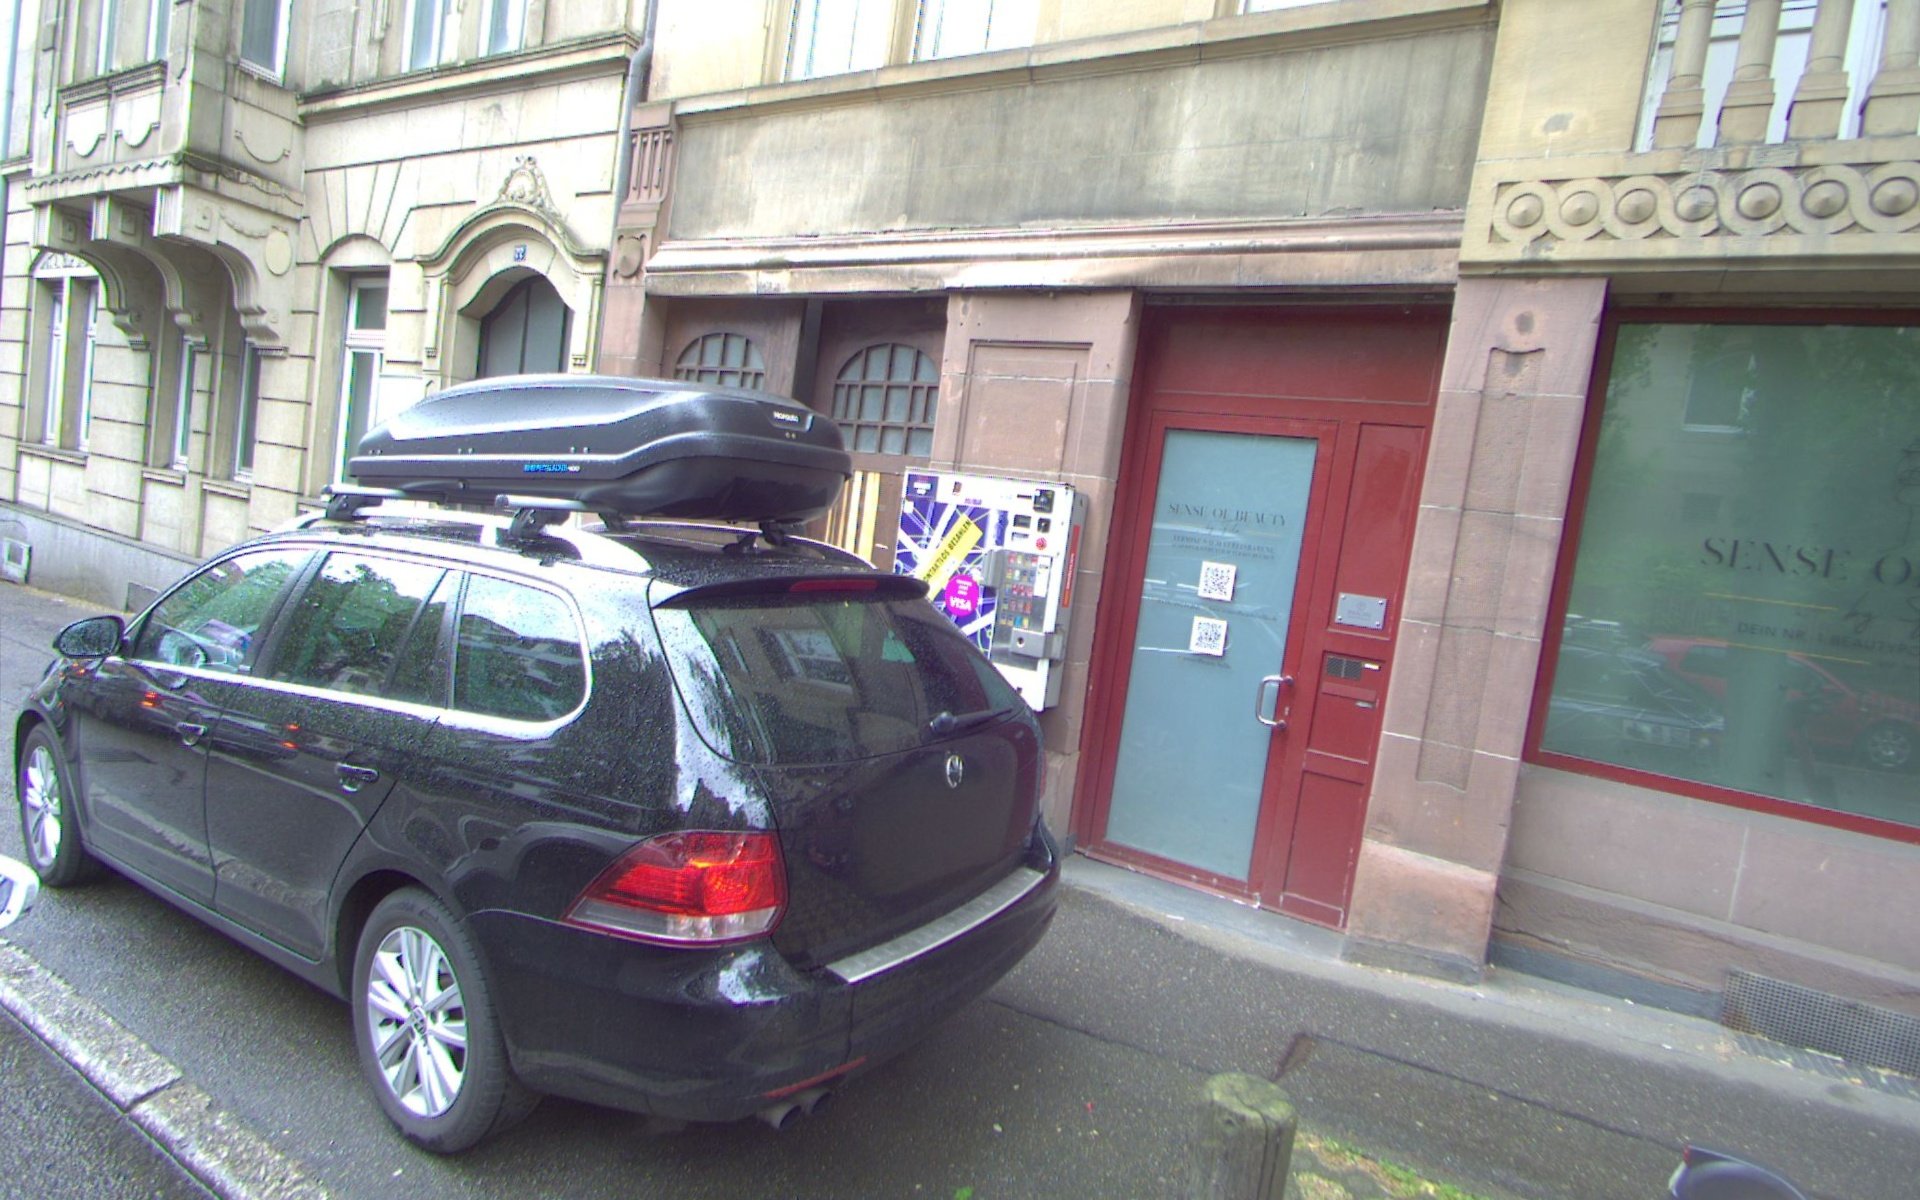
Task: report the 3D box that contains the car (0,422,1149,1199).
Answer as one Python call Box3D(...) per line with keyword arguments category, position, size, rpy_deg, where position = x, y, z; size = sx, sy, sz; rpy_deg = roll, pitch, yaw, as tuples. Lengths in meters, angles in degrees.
Box3D(category="car", position=(-1.634, 0.354, 3.502), size=(4.031, 1.675, 1.757), rpy_deg=(7, 6, 32))

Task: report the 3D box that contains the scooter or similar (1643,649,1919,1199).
Box3D(category="scooter or similar", position=(2.141, 0.838, 1.945), size=(1.183, 1.336, 0.593), rpy_deg=(7, 3, 32))
